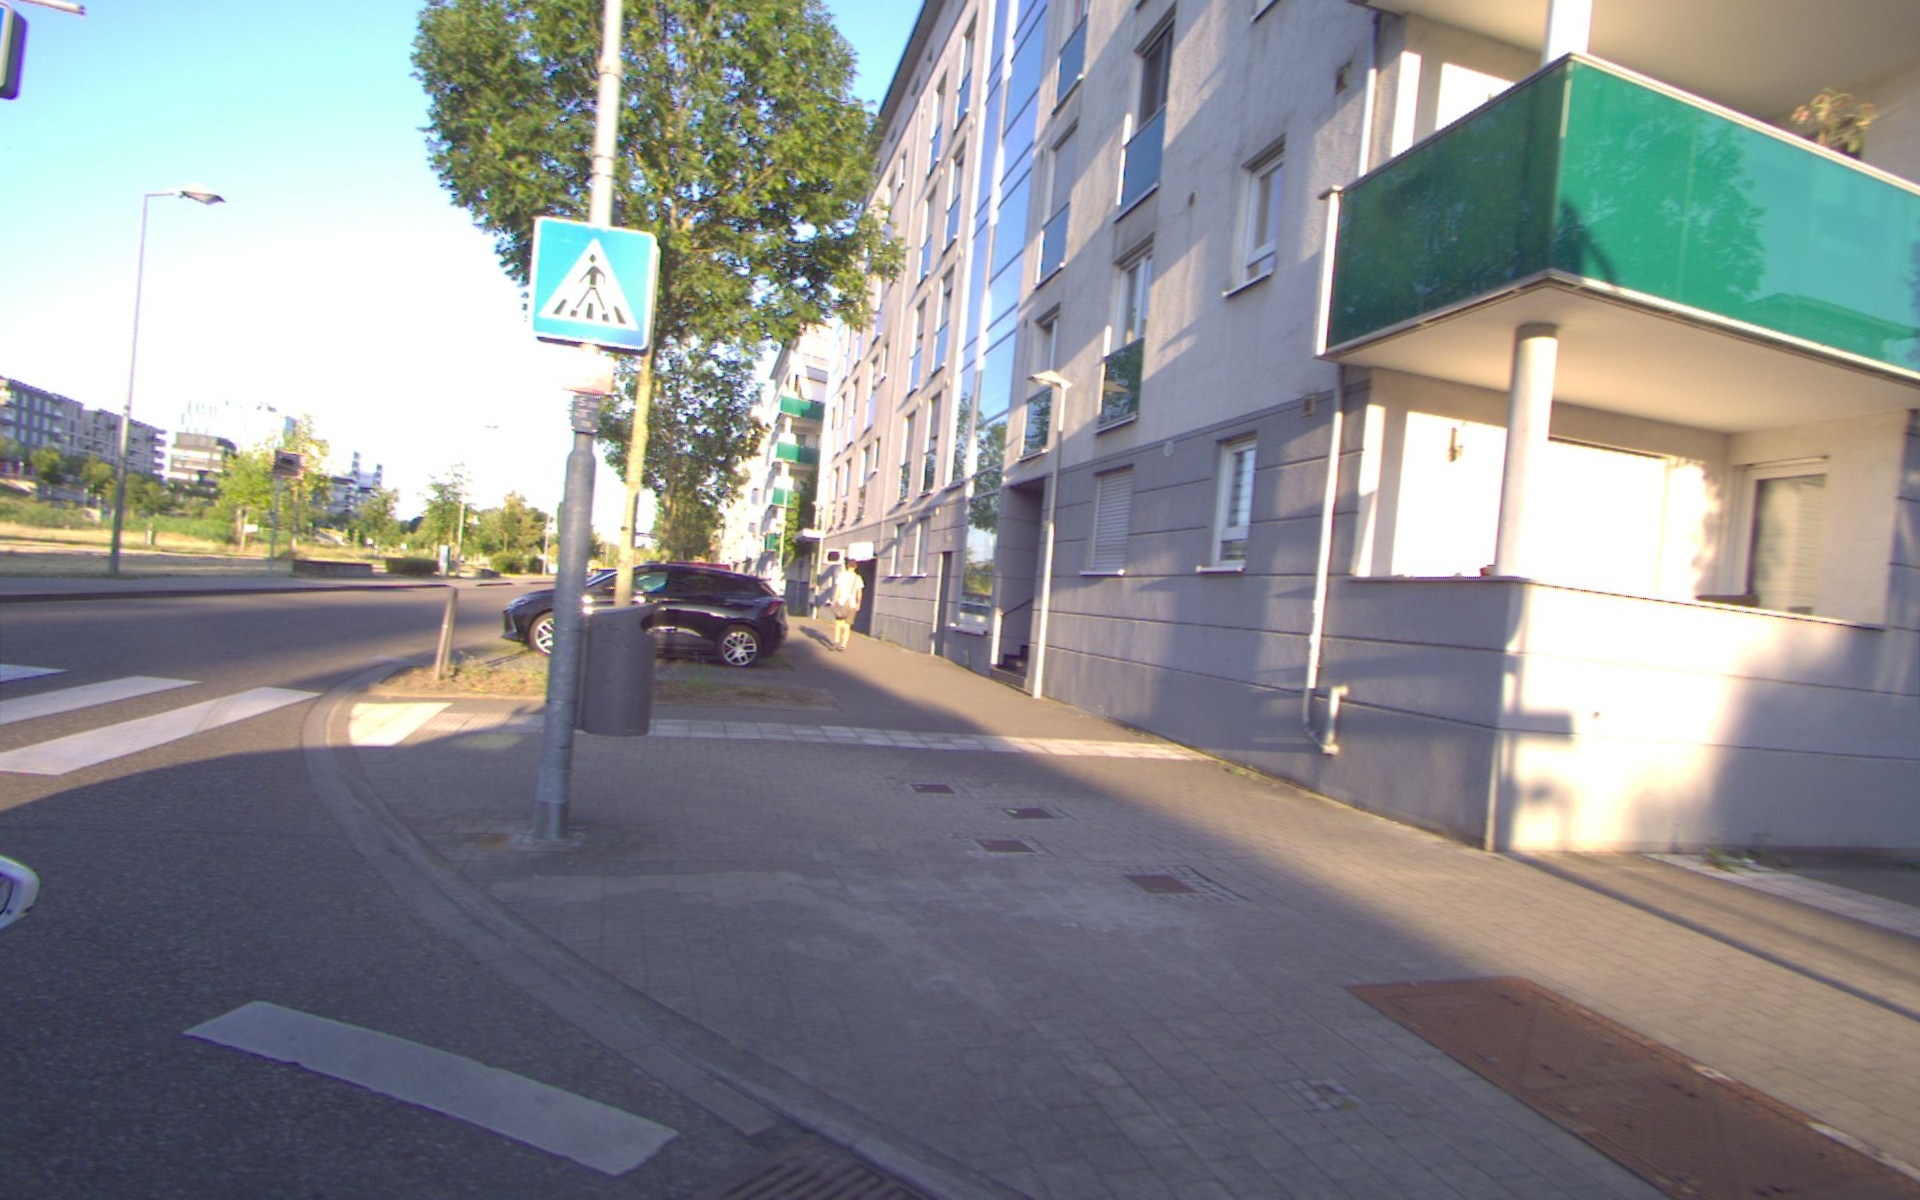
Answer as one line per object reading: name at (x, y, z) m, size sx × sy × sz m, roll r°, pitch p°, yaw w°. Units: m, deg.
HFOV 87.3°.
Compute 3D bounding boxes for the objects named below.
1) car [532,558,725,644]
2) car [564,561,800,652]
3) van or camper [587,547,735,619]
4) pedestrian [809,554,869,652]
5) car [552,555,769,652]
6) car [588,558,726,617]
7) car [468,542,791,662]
car at (-7.619, 0.027, 23.358) m, size 3.996 × 1.498 × 1.695 m, roll 6°, pitch 0°, yaw -18°
car at (-5.047, 0.120, 18.413) m, size 3.943 × 1.392 × 1.553 m, roll 3°, pitch 1°, yaw -18°
van or camper at (-11.182, -0.629, 37.720) m, size 5.056 × 2.086 × 1.870 m, roll 6°, pitch 0°, yaw -19°
pedestrian at (-2.491, 0.055, 20.682) m, size 0.964 × 1.919 × 1.046 m, roll 3°, pitch 1°, yaw -16°
car at (-6.114, 0.071, 20.708) m, size 3.996 × 1.498 × 1.695 m, roll 6°, pitch 0°, yaw -18°
car at (-10.527, -0.433, 35.116) m, size 4.400 × 1.540 × 1.695 m, roll 6°, pitch 0°, yaw -18°
car at (-4.992, 0.047, 15.568) m, size 4.411 × 1.507 × 1.826 m, roll 3°, pitch 1°, yaw -18°
